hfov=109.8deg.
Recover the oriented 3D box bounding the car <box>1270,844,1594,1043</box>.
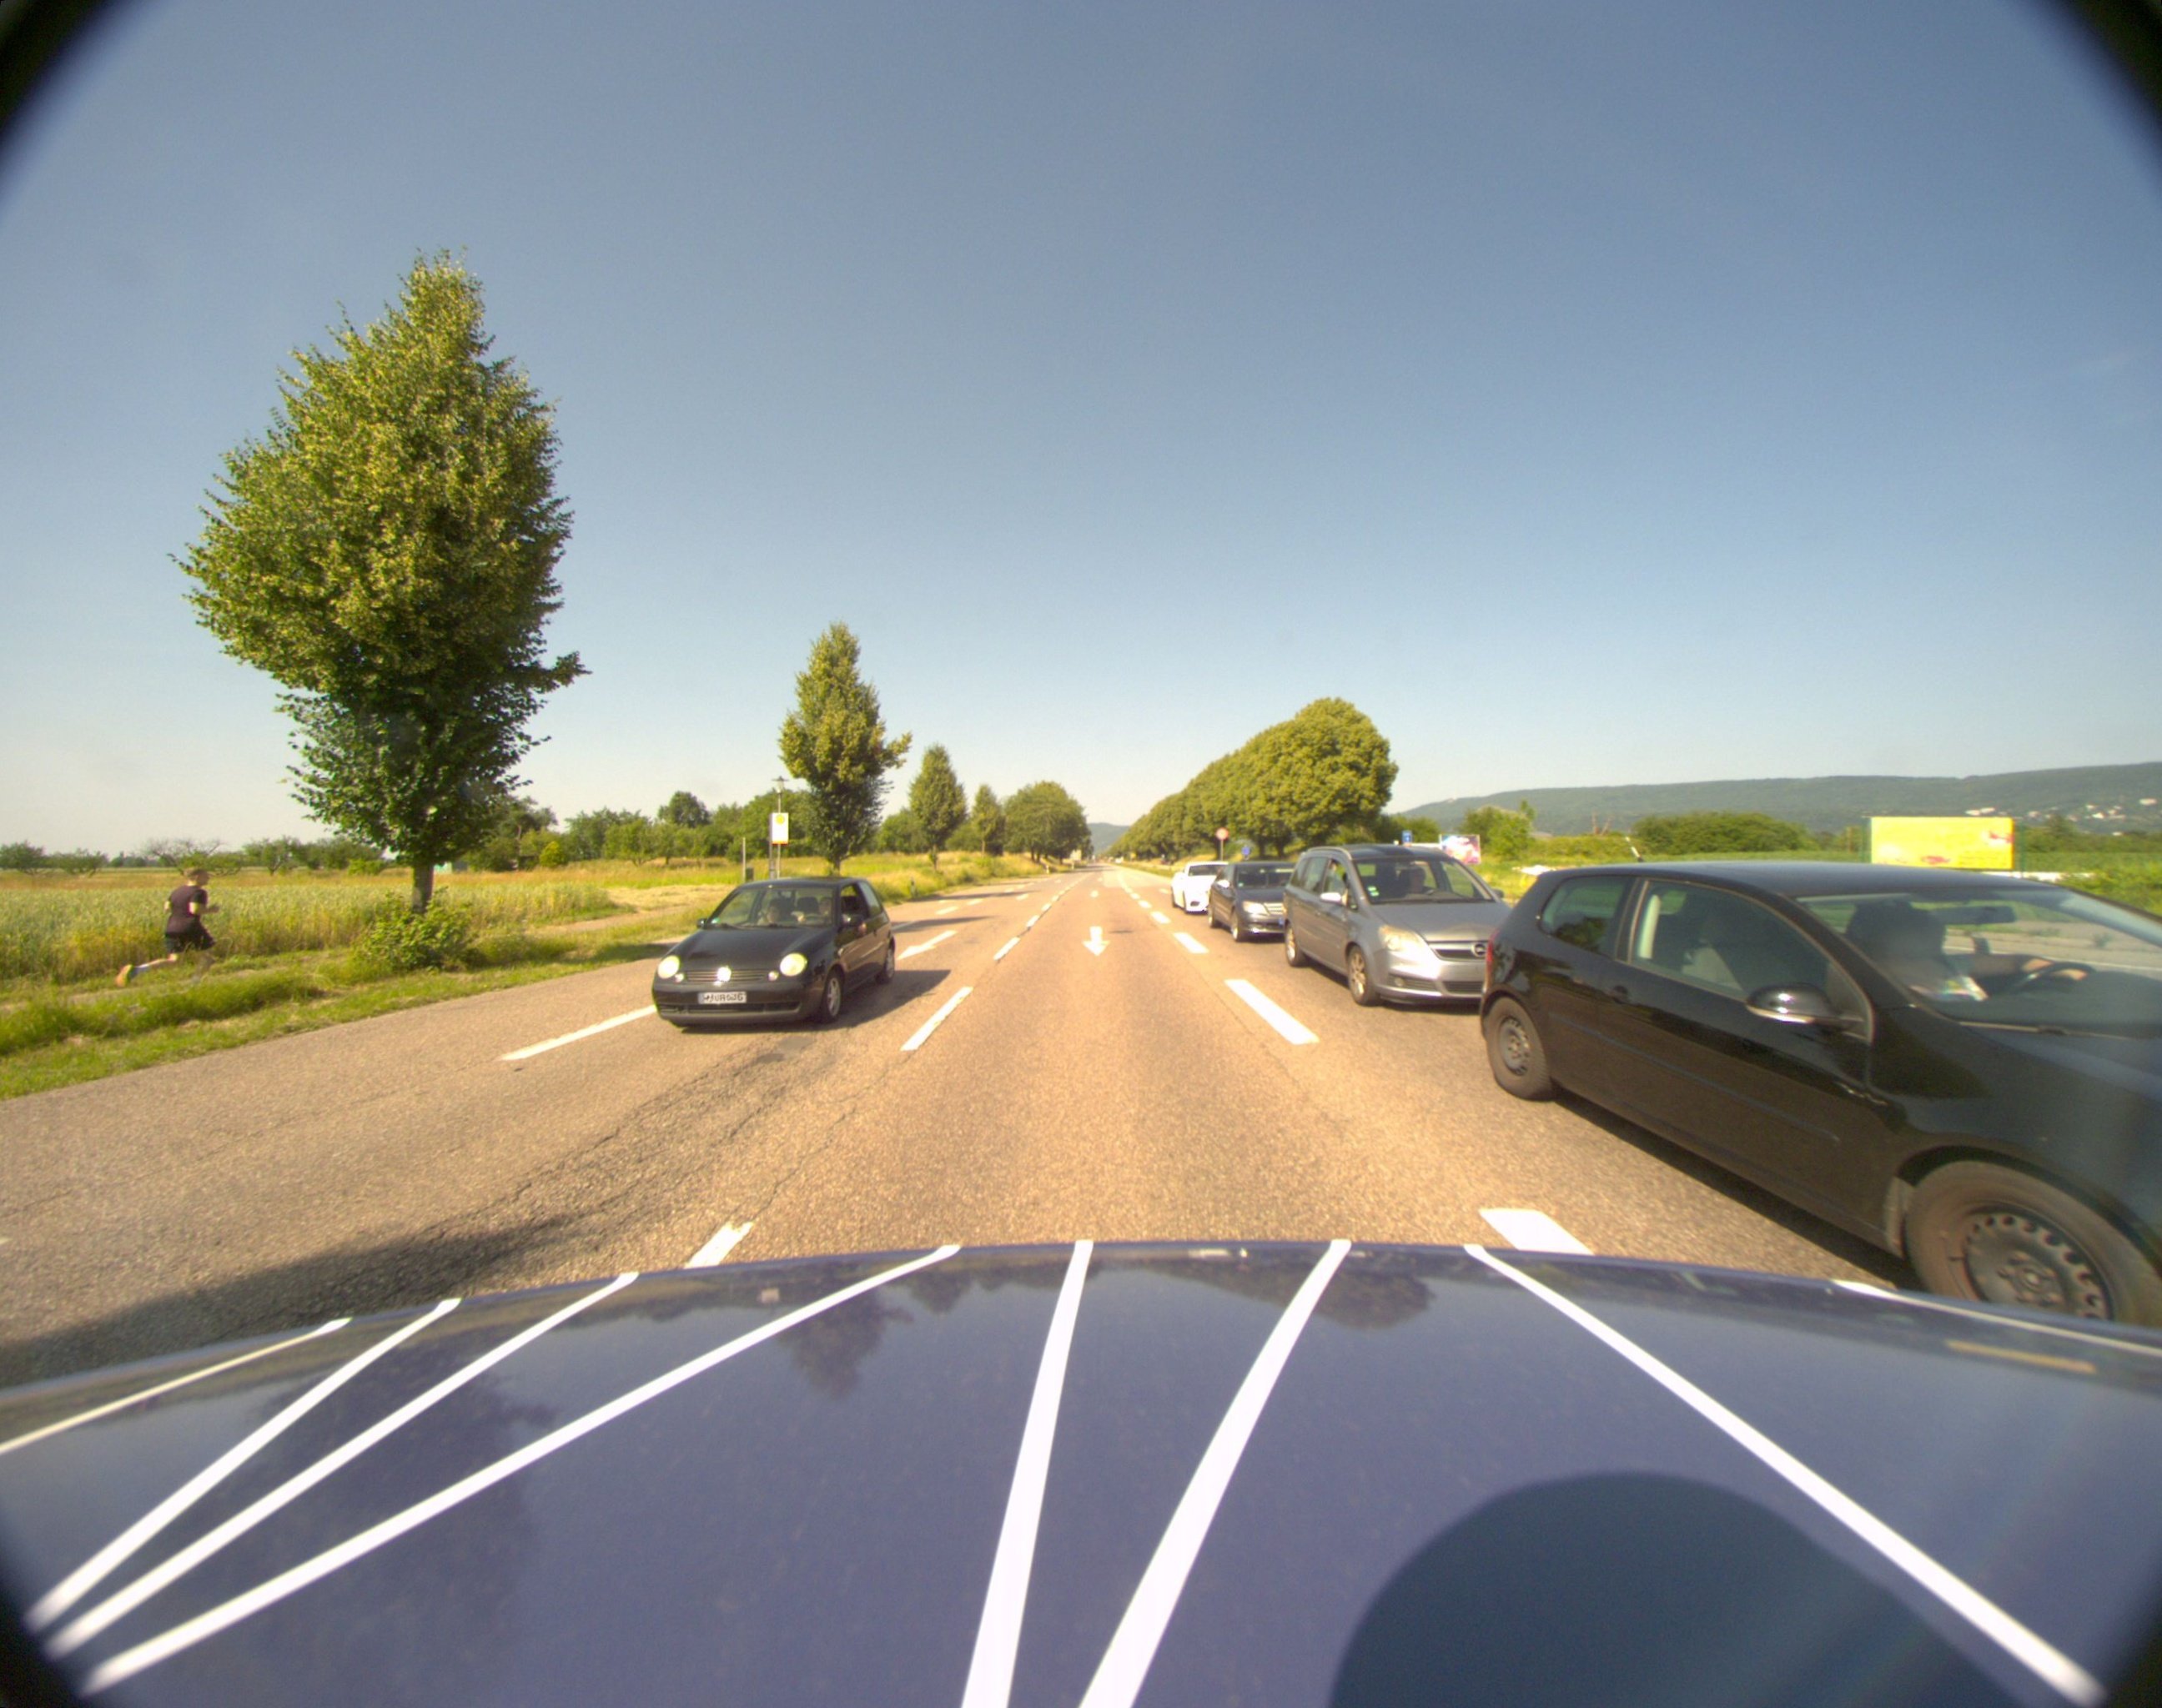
[{"bbox_3d":[3.560,0.785,8.716,1.745,1.662,4.357,-2,0,1],"label":"car"}]

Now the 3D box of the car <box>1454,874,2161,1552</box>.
[{"bbox_3d":[3.368,0.880,3.172,1.670,1.466,4.098,-1,0,1],"label":"car"}]

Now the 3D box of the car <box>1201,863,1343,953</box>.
[{"bbox_3d":[3.517,0.930,14.797,1.718,1.402,4.355,-1,0,1],"label":"car"}]

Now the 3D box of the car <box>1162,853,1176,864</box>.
[{"bbox_3d":[15.939,0.846,137.907,1.998,1.830,4.954,1,0,1],"label":"car"}]

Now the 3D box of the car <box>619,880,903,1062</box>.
[{"bbox_3d":[-3.227,1.082,8.473,1.629,1.425,3.622,-2,0,-1],"label":"car"}]

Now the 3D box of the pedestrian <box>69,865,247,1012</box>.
[{"bbox_3d":[-12.307,1.076,10.195,0.904,1.828,1.195,-1,0,-1],"label":"pedestrian"}]

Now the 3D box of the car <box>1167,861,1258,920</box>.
[{"bbox_3d":[3.615,0.941,21.678,1.808,1.417,4.641,-2,0,1],"label":"car"}]
